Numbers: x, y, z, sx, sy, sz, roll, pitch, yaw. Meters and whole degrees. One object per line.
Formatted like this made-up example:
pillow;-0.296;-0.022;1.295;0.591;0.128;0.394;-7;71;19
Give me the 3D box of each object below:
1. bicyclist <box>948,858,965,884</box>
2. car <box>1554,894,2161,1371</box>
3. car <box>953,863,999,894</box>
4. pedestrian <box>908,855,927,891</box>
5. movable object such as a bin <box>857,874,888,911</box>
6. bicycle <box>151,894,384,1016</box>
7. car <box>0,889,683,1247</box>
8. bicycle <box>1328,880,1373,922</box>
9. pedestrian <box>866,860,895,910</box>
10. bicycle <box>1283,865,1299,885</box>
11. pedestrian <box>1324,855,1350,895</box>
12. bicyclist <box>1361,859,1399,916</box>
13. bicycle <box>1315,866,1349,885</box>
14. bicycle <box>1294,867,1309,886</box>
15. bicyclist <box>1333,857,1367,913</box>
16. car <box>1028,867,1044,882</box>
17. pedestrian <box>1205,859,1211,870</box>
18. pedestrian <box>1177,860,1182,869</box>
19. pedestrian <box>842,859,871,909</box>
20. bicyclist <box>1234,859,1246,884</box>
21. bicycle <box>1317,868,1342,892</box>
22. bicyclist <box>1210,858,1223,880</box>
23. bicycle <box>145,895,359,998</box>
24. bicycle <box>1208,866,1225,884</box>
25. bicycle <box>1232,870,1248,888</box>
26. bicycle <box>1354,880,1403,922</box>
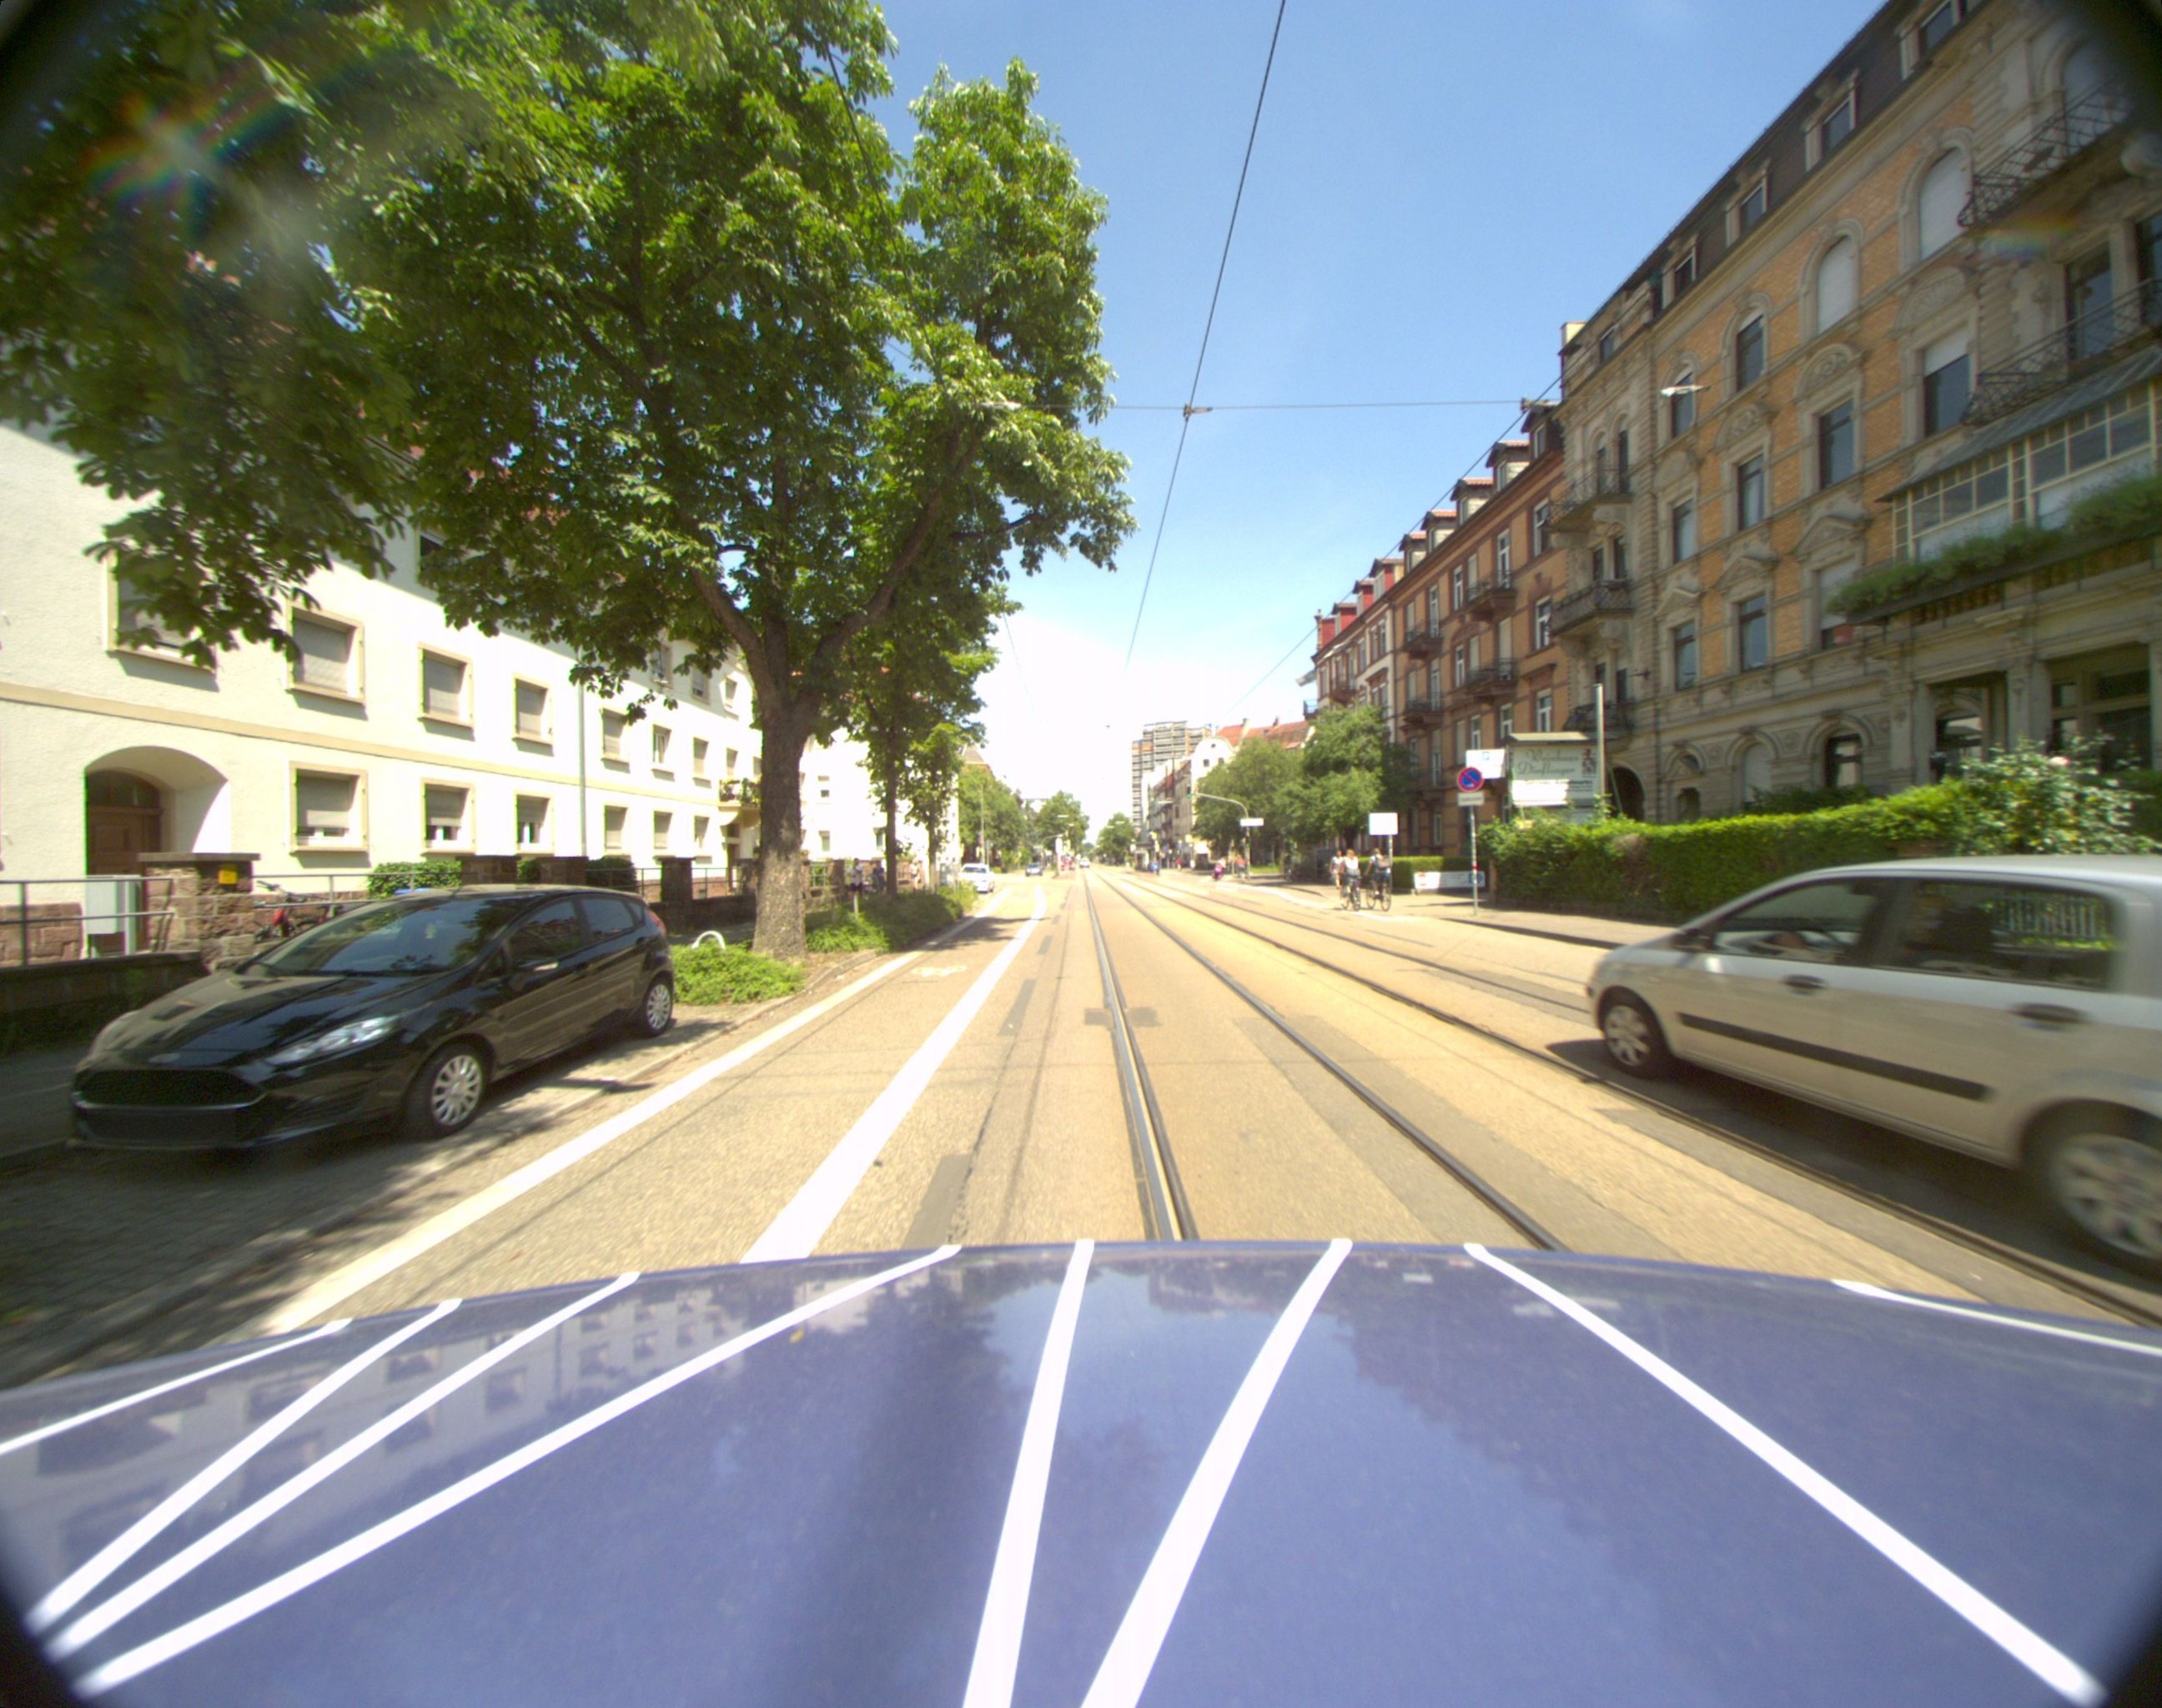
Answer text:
bicyclist;-6.843;0.921;41.711;0.712;1.443;1.010;0;0;2
car;4.419;1.003;3.774;1.689;1.441;4.001;1;-1;1
car;-5.375;1.220;39.407;1.782;1.402;4.156;5;-1;-1
pedestrian;-7.537;0.873;35.024;0.699;1.659;0.756;0;0;-1
movable object such as a bin;-6.982;1.287;25.513;0.699;1.179;1.036;3;0;-1
bicycle;-9.532;1.121;9.046;0.598;1.202;1.970;3;-1;0
car;-4.690;1.078;5.499;1.661;1.506;3.999;0;-1;-3
bicycle;7.595;1.310;21.508;0.583;1.071;1.890;1;-1;0
pedestrian;-6.977;1.064;26.470;0.699;1.659;0.869;3;0;-1
bicycle;12.700;1.277;45.967;0.574;1.162;1.716;0;0;3
pedestrian;11.084;0.916;32.912;0.874;1.690;1.014;0;0;6
bicyclist;8.464;0.935;21.508;0.635;1.575;1.028;1;0;0
bicycle;13.519;1.168;40.987;1.650;0.990;0.495;0;0;2
bicycle;12.712;1.307;43.812;0.460;1.049;1.565;0;0;3
bicyclist;7.606;0.874;21.493;0.594;1.535;0.952;1;0;0
car;-5.015;2.283;85.011;1.737;1.542;4.424;1;-1;-2
pedestrian;15.981;1.315;95.621;0.537;1.432;0.520;1;0;-10
pedestrian;15.166;1.634;116.850;0.537;1.432;0.520;1;0;-10
pedestrian;-7.726;1.017;26.138;0.699;1.659;0.756;3;0;-1
bicyclist;9.573;1.069;45.820;0.564;1.506;0.892;0;0;1
bicycle;11.817;1.210;36.213;0.639;1.087;1.932;-2;-1;3
bicyclist;9.921;1.074;55.600;0.809;1.620;0.980;0;0;1
bicycle;-10.943;1.165;10.153;0.598;1.119;1.970;4;0;1
bicycle;9.919;1.531;55.598;0.809;1.264;2.551;0;-1;1
bicycle;9.573;1.486;45.798;0.569;1.032;1.829;0;-1;1
bicycle;8.460;1.318;21.656;0.631;1.071;1.875;1;-1;0
